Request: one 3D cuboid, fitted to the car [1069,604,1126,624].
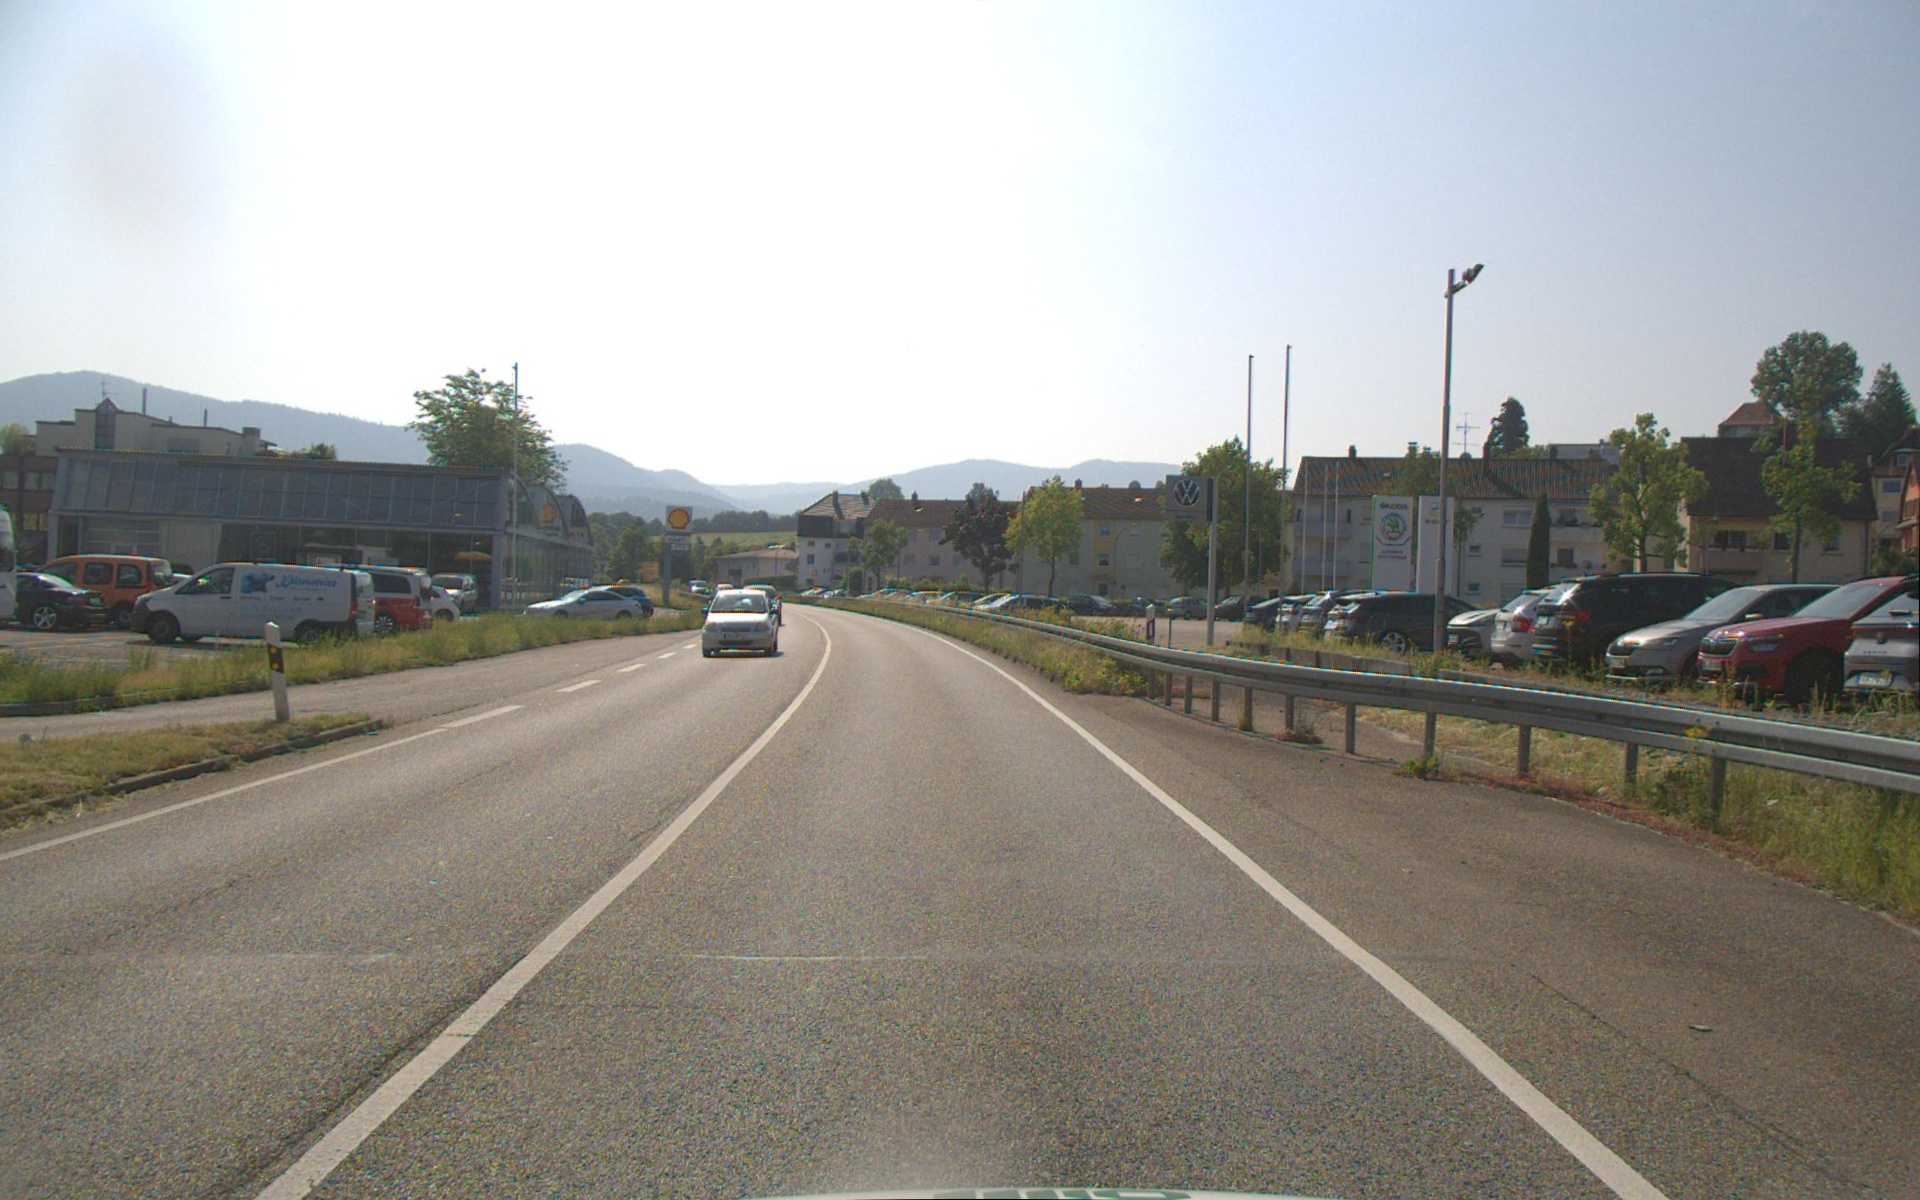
[{"bbox_3d":[10.226,1.039,123.198,1.890,1.430,4.474,1,-1,-32],"label":"car"}]

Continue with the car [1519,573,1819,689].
[{"bbox_3d":[10.696,0.471,25.166,3.797,1.693,1.841,0,-1,4],"label":"car"}]

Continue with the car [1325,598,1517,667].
[{"bbox_3d":[10.506,0.731,37.846,3.906,1.520,1.730,1,-1,-1],"label":"car"}]

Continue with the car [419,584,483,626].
[{"bbox_3d":[-22.528,0.206,73.375,1.770,1.743,4.404,1,1,-5],"label":"car"}]

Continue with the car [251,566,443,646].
[{"bbox_3d":[-17.751,0.174,48.109,4.700,2.016,2.226,3,0,-6],"label":"car"}]

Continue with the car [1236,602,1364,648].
[{"bbox_3d":[11.944,0.869,58.236,4.079,1.542,1.821,0,-1,-9],"label":"car"}]

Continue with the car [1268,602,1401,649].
[{"bbox_3d":[12.556,0.853,55.545,4.012,1.542,1.823,1,-1,-5],"label":"car"}]

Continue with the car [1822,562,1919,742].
[{"bbox_3d":[9.836,0.456,14.410,3.758,1.484,1.746,1,-1,1],"label":"car"}]

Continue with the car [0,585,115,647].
[{"bbox_3d":[-22.740,0.332,39.330,4.296,1.342,1.797,2,0,-6],"label":"car"}]

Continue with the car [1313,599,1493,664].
[{"bbox_3d":[10.841,0.759,40.614,3.908,1.520,1.789,1,-1,-3],"label":"car"}]

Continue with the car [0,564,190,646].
[{"bbox_3d":[-22.432,0.120,42.450,4.296,1.839,1.999,3,0,-6],"label":"car"}]

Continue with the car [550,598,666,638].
[{"bbox_3d":[-14.025,0.700,66.036,1.952,1.533,4.203,1,0,44],"label":"car"}]

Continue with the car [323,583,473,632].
[{"bbox_3d":[-18.111,0.265,53.441,1.866,1.428,4.201,1,-1,44],"label":"car"}]

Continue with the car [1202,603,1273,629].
[{"bbox_3d":[17.696,1.036,105.385,4.440,1.628,1.821,1,-1,-33],"label":"car"}]

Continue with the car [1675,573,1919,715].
[{"bbox_3d":[10.728,0.492,19.294,3.999,1.579,1.781,0,-1,0],"label":"car"}]

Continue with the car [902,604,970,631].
[{"bbox_3d":[-1.490,1.051,101.812,3.918,1.608,1.772,1,-1,-13],"label":"car"}]

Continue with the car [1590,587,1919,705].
[{"bbox_3d":[10.452,0.589,21.819,3.655,1.484,1.664,0,-1,0],"label":"car"}]

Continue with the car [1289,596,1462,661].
[{"bbox_3d":[10.780,0.734,43.055,3.998,1.638,1.790,1,-1,-6],"label":"car"}]

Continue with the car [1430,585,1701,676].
[{"bbox_3d":[11.159,0.557,30.654,4.359,1.629,1.853,0,-1,-4],"label":"car"}]

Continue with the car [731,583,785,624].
[{"bbox_3d":[-8.520,0.157,70.013,1.774,1.658,4.540,0,0,-1],"label":"car"}]

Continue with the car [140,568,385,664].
[{"bbox_3d":[-15.659,0.355,37.372,4.581,1.890,2.141,3,0,-6],"label":"car"}]

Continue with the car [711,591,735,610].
[{"bbox_3d":[-20.837,0.019,145.186,1.761,1.658,4.213,0,0,-12],"label":"car"}]

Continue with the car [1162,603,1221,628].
[{"bbox_3d":[15.181,1.022,108.238,3.722,1.548,1.637,1,0,-35],"label":"car"}]

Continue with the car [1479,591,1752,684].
[{"bbox_3d":[10.991,0.625,27.957,3.951,1.512,1.723,0,-1,4],"label":"car"}]

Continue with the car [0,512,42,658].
[{"bbox_3d":[-21.200,-0.421,31.810,5.608,2.793,2.283,3,-1,-4],"label":"car"}]

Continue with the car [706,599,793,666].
[{"bbox_3d":[-4.979,0.744,39.490,1.643,1.498,3.706,0,0,-1],"label":"car"}]

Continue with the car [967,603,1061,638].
[{"bbox_3d":[2.465,0.929,76.245,4.080,1.517,1.729,-1,-1,-7],"label":"car"}]

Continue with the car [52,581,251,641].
[{"bbox_3d":[-21.915,0.292,44.970,4.379,1.423,1.964,2,0,-6],"label":"car"}]

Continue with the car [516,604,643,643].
[{"bbox_3d":[-14.161,0.865,61.698,1.822,1.391,4.364,1,0,44],"label":"car"}]
